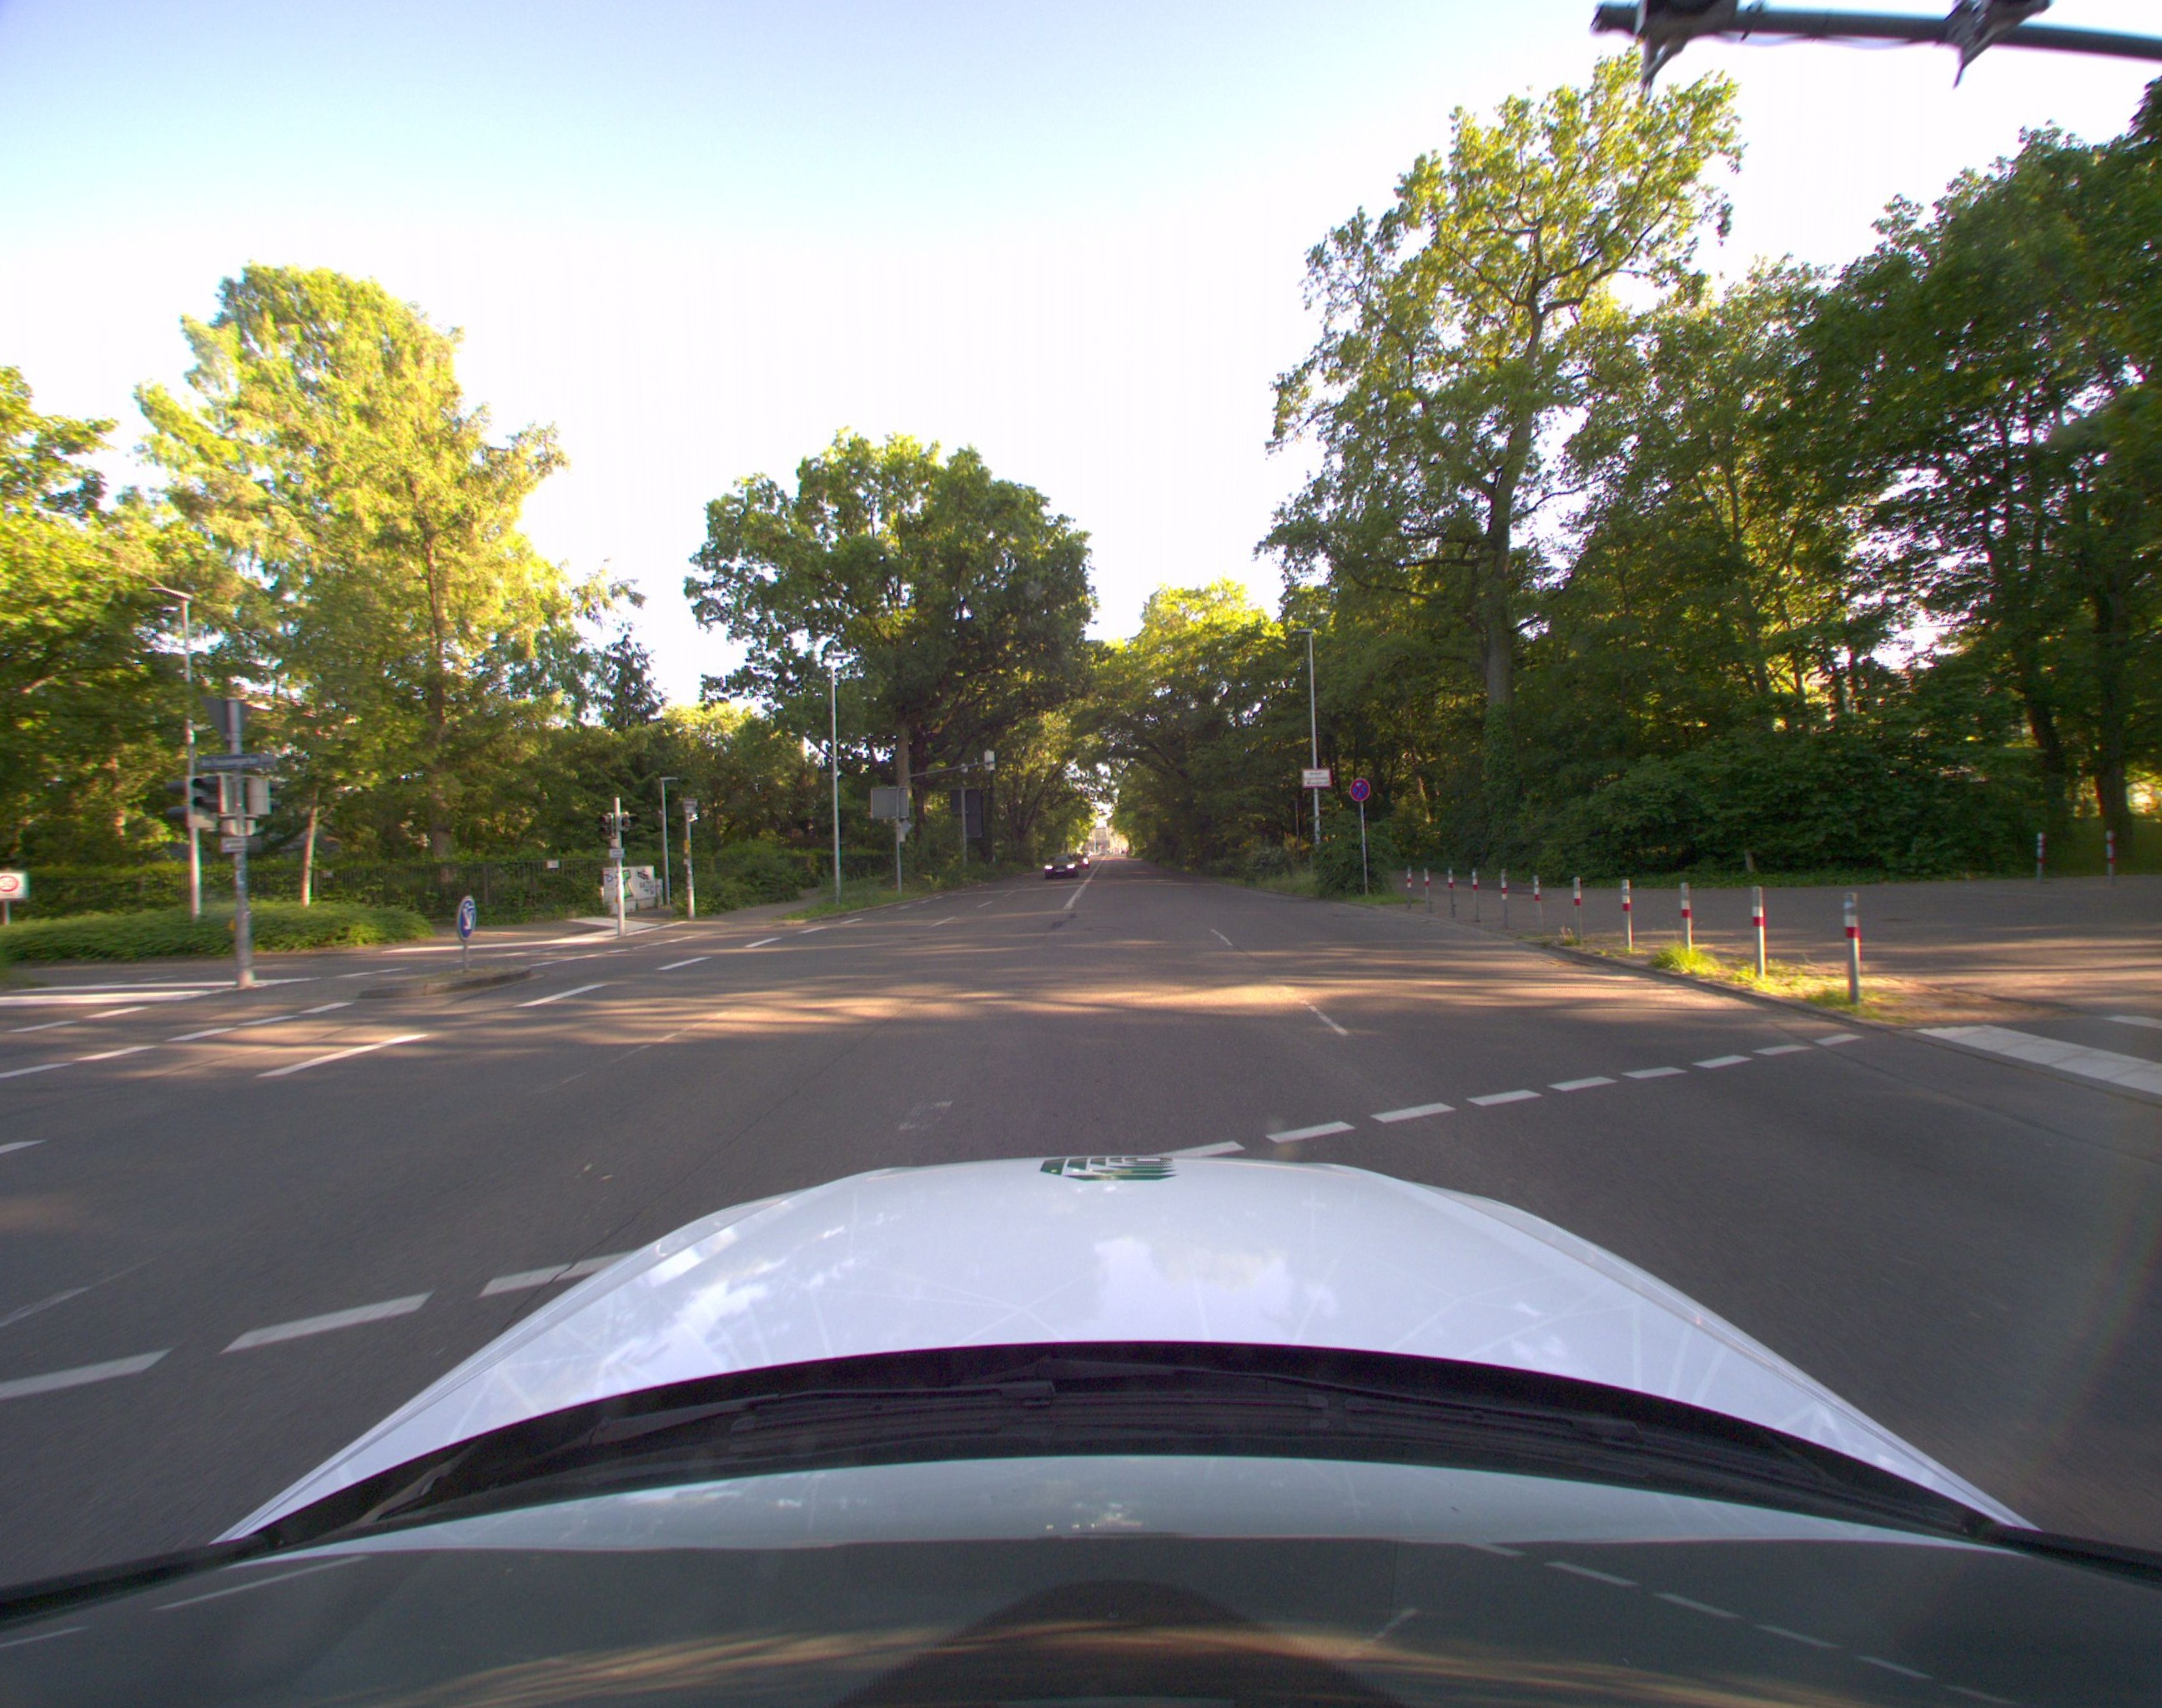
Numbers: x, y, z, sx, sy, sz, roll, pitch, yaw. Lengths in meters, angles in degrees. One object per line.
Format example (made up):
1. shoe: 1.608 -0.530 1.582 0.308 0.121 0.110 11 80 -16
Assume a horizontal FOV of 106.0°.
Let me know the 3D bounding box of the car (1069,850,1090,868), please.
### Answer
1. car: -0.087 0.481 74.873 1.791 1.506 4.365 -3 0 1

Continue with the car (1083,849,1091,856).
1. car: 1.496 -0.262 192.365 1.791 1.506 4.365 -3 0 1

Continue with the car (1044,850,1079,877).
1. car: -1.150 0.573 50.508 1.881 1.506 4.365 -3 0 1
